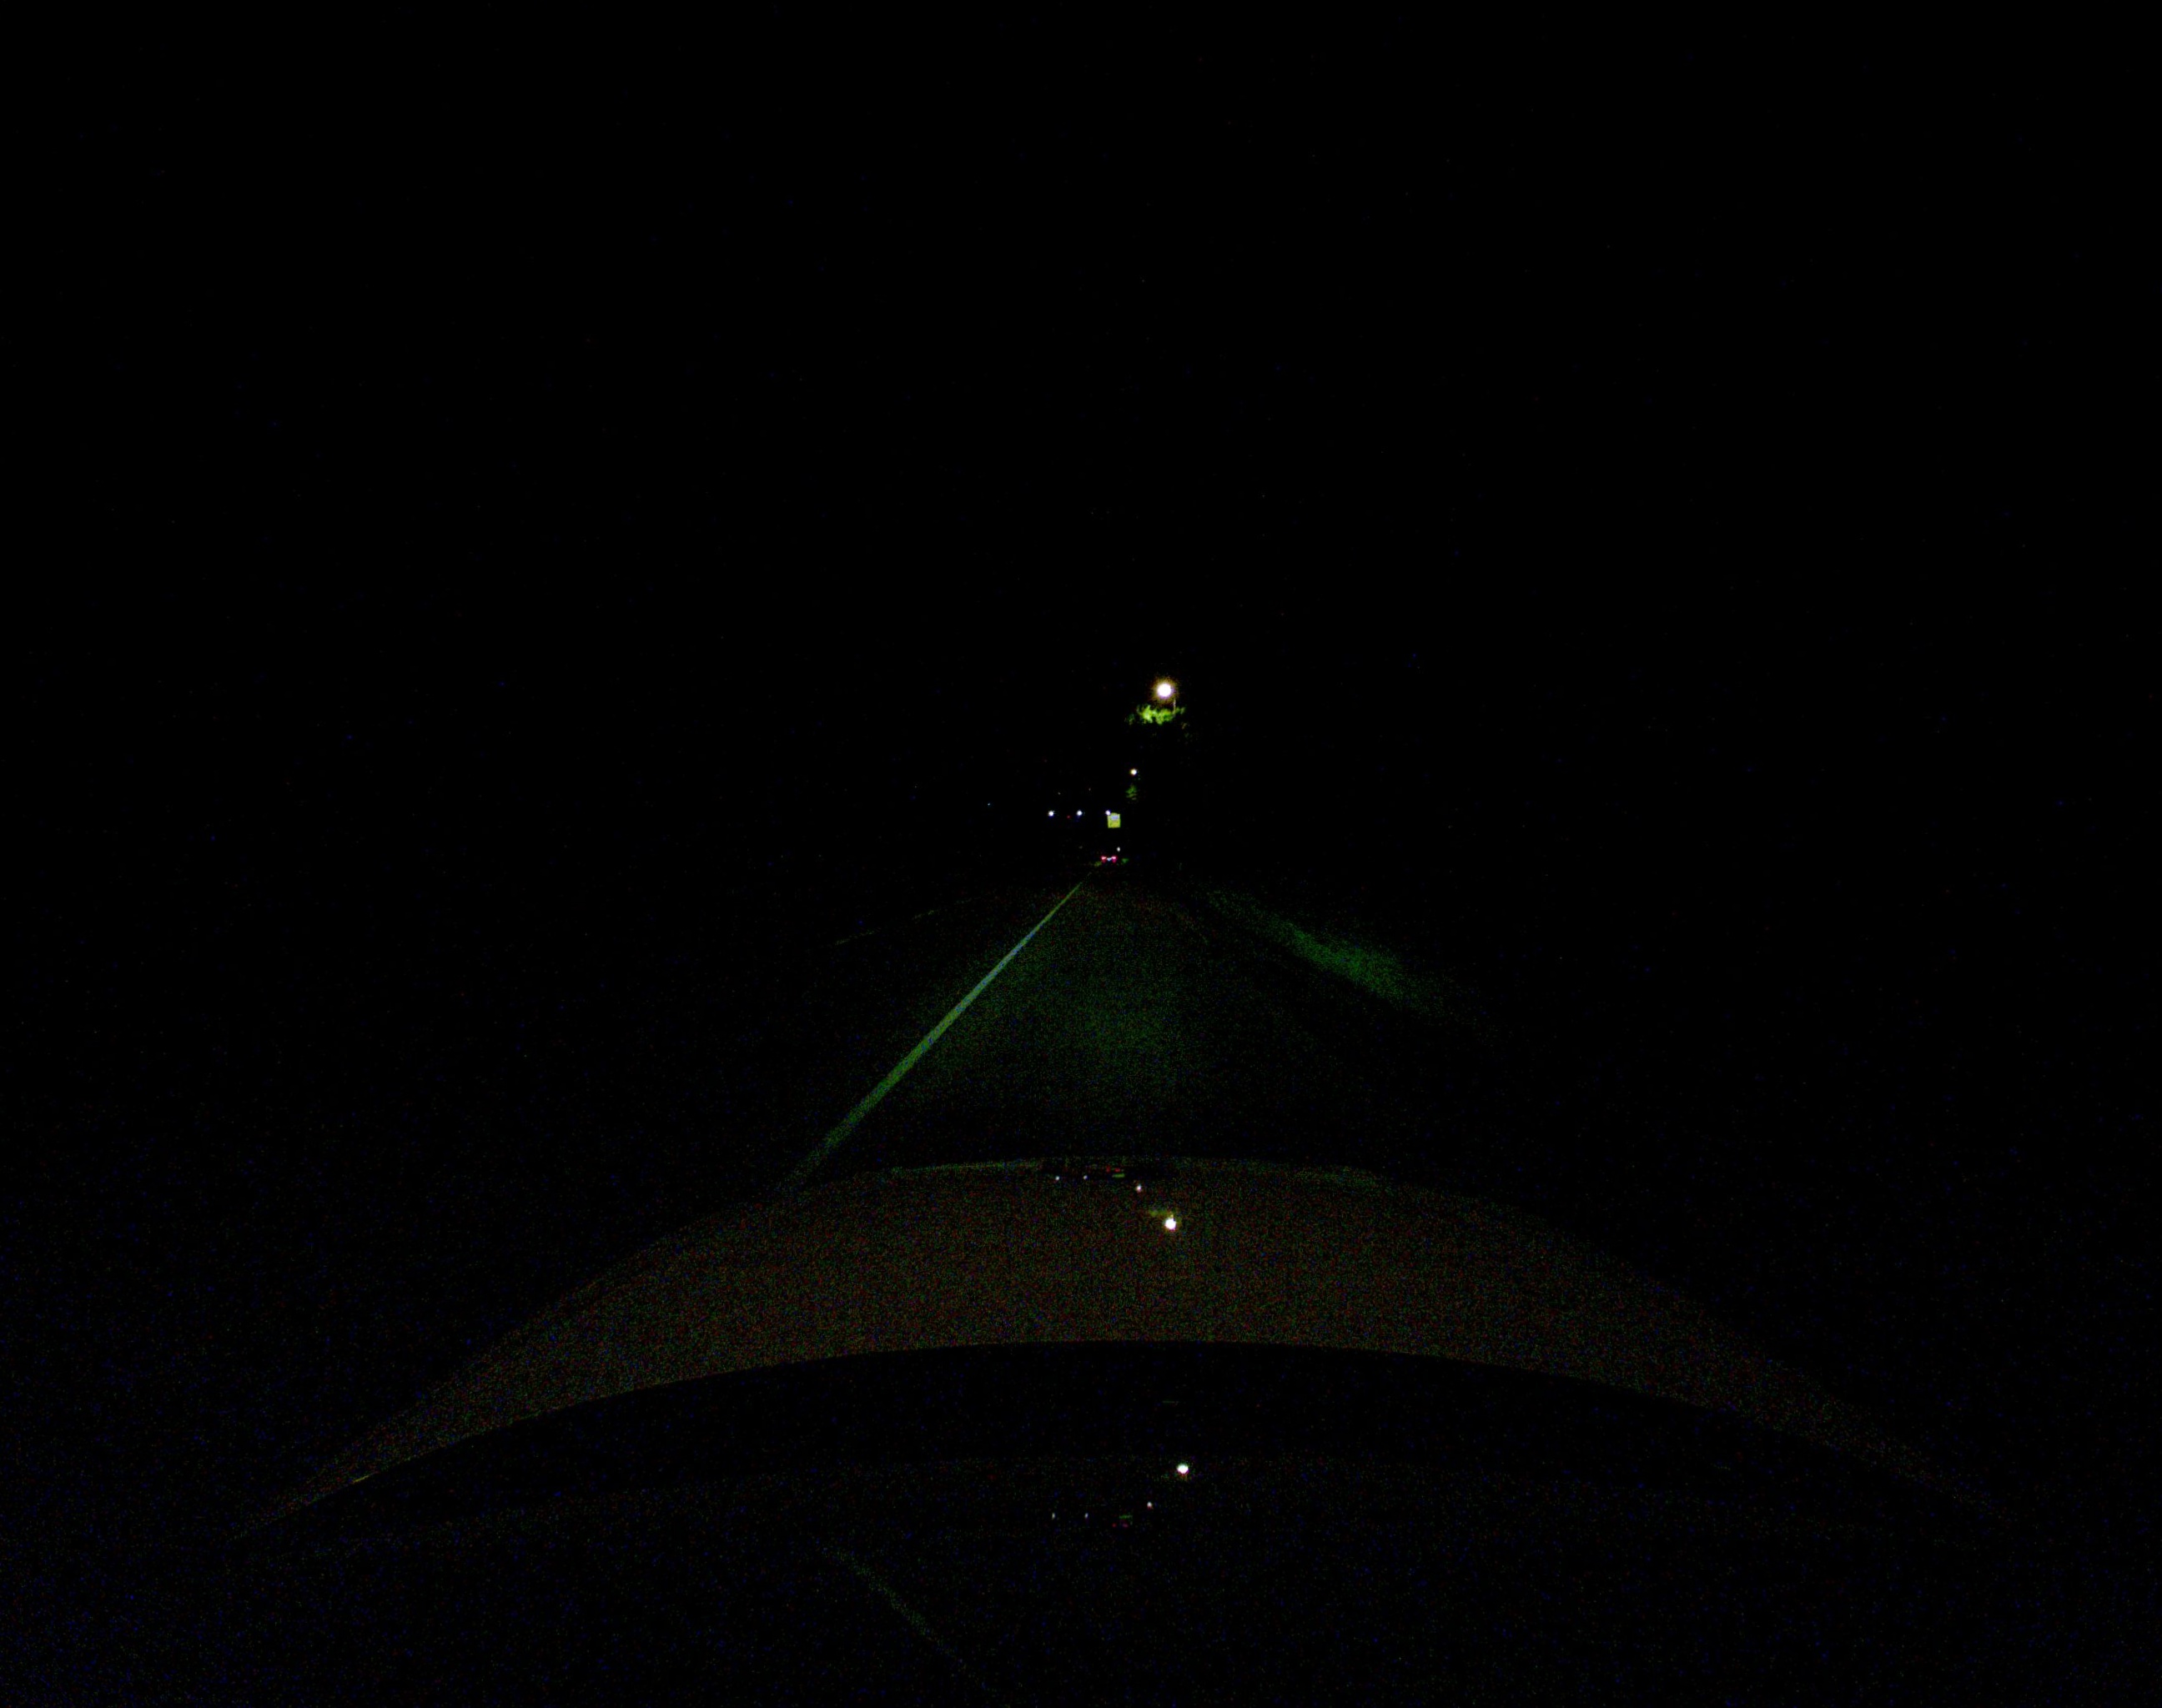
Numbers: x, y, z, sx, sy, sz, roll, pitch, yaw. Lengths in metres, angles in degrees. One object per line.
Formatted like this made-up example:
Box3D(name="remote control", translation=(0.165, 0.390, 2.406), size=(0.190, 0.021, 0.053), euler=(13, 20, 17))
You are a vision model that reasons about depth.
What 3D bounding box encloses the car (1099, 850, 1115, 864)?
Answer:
Box3D(name="car", translation=(3.304, 0.339, 102.366), size=(1.755, 1.641, 3.728), euler=(-1, 1, 5))
